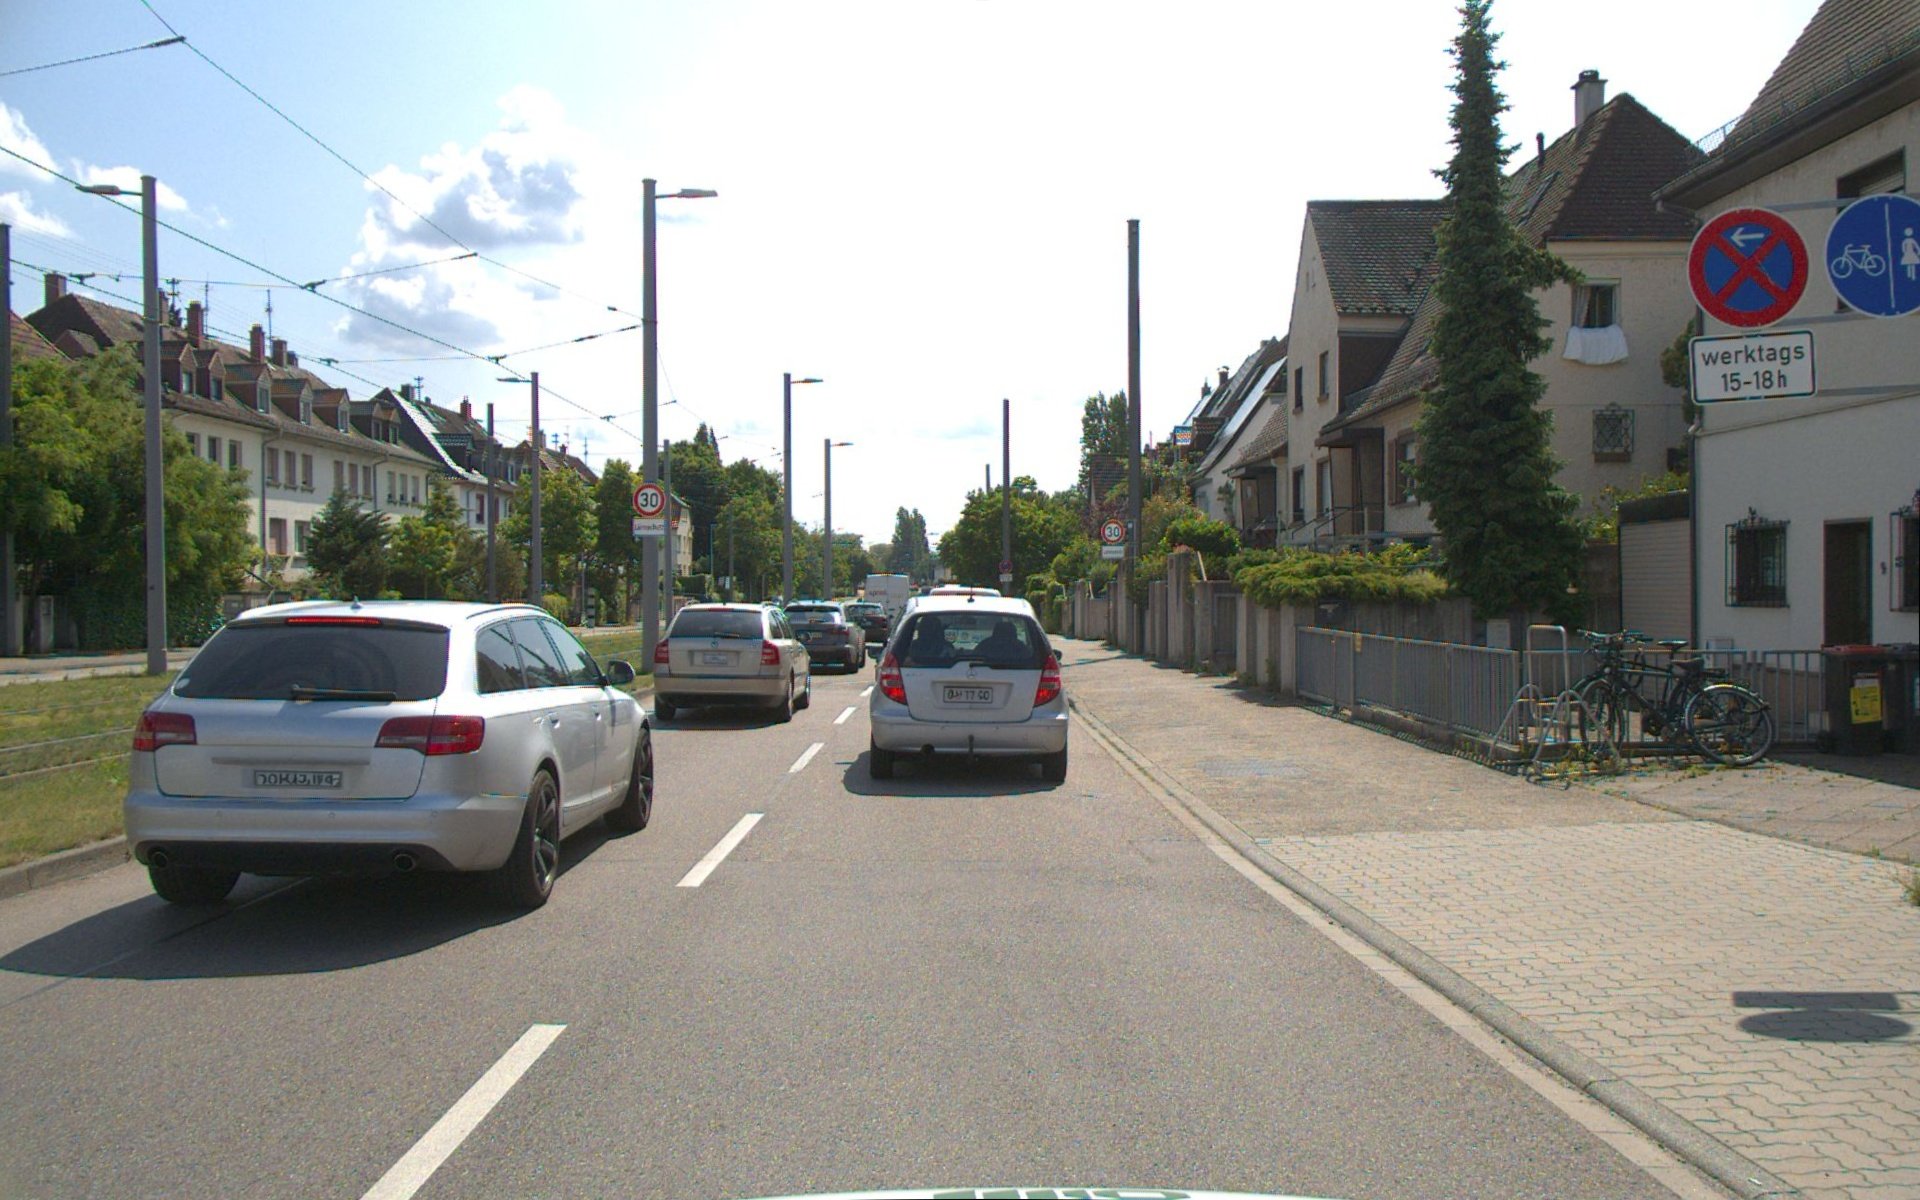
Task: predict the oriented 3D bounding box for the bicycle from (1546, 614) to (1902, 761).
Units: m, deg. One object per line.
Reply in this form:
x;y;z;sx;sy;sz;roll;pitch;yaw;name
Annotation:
6.346;0.714;13.830;2.607;1.124;0.786;-1;0;-2;bicycle

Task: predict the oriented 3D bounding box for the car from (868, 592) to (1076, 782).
0.026;0.725;15.717;1.695;1.543;4.014;1;0;-2;car

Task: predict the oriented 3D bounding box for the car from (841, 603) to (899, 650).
-2.919;0.835;54.271;1.815;1.412;4.512;1;0;-2;car

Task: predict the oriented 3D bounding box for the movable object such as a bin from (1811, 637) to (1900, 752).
7.732;0.807;14.295;0.458;0.963;0.558;0;0;-1;movable object such as a bin

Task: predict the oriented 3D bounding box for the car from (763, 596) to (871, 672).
-3.020;0.681;35.844;1.877;1.503;4.562;1;0;1;car

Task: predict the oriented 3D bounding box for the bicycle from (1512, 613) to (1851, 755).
6.312;0.722;14.543;2.671;1.139;0.691;-1;0;-2;bicycle

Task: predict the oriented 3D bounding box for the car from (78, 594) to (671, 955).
-2.883;0.732;9.352;1.758;1.497;4.721;1;0;-1;car

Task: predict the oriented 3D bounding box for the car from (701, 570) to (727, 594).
-25.331;-1.836;170.437;1.877;2.371;4.563;1;0;1;car

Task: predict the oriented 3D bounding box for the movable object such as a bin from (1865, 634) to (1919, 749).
8.213;0.782;14.297;0.458;0.963;0.558;-1;0;-1;movable object such as a bin

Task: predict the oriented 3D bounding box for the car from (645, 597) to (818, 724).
-2.904;0.727;21.807;1.696;1.474;4.122;1;0;0;car

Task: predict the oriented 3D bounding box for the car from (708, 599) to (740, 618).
-19.403;0.710;136.255;1.877;1.503;4.563;1;0;1;car

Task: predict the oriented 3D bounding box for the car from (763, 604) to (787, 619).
-19.139;1.146;171.072;1.877;1.503;4.563;1;0;1;car

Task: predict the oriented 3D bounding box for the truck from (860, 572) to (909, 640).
-3.018;0.234;66.657;1.815;2.597;5.852;1;0;-2;truck

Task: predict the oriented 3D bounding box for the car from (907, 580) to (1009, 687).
-0.071;0.578;30.182;1.695;1.793;4.015;1;0;-1;car
